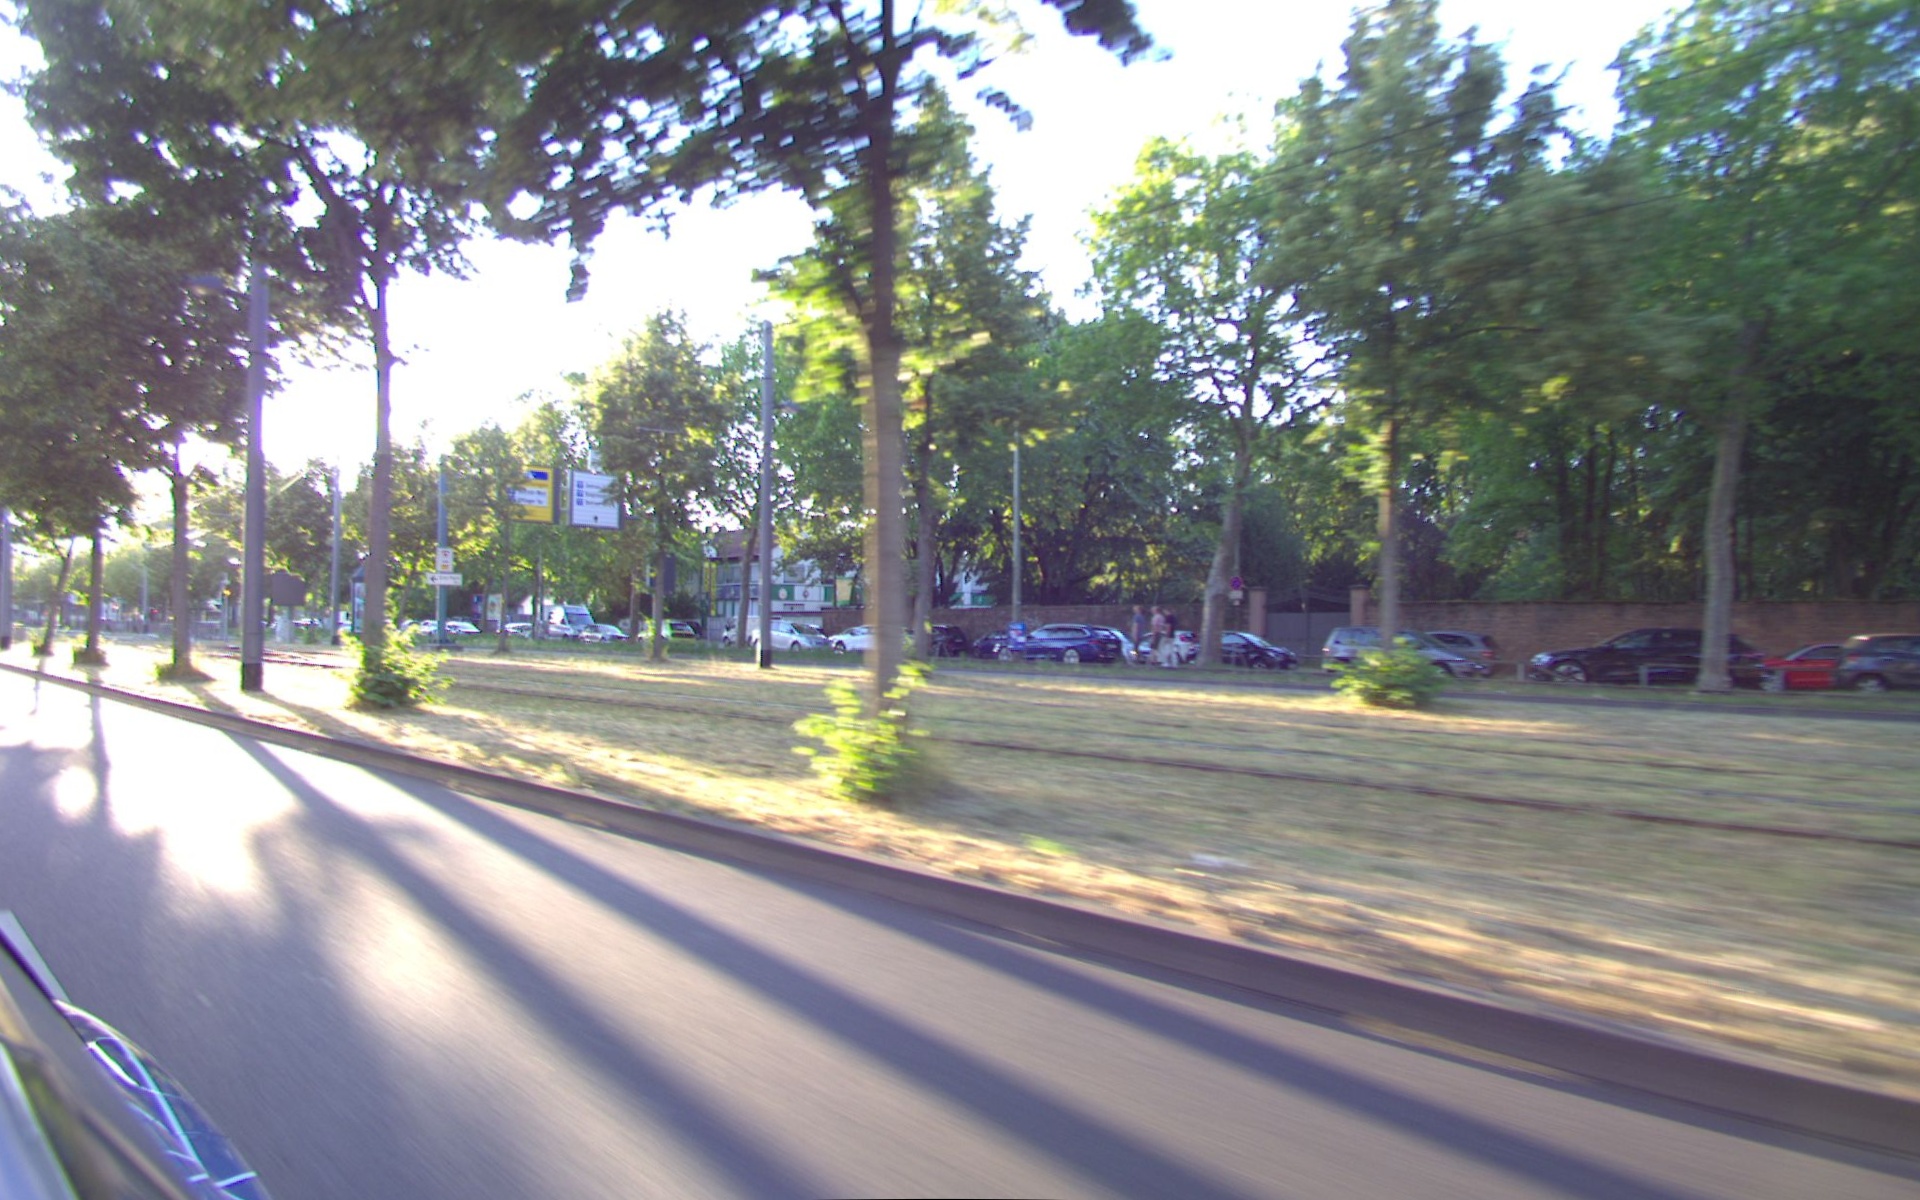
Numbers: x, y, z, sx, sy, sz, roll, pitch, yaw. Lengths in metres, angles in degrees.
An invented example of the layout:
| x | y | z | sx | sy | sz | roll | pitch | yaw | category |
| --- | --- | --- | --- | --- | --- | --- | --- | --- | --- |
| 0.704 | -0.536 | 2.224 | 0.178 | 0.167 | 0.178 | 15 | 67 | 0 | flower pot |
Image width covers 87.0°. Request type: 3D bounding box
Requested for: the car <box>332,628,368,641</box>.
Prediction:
| x | y | z | sx | sy | sz | roll | pitch | yaw | category |
| --- | --- | --- | --- | --- | --- | --- | --- | --- | --- |
| -59.221 | 3.316 | 98.224 | 4.088 | 1.210 | 1.972 | -2 | -2 | 42 | car |

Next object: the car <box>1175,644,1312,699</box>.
| x | y | z | sx | sy | sz | roll | pitch | yaw | category |
| --- | --- | --- | --- | --- | --- | --- | --- | --- | --- |
| 8.981 | 2.233 | 32.283 | 1.782 | 1.572 | 3.841 | 2 | -2 | -44 | car |

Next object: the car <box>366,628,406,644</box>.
| x | y | z | sx | sy | sz | roll | pitch | yaw | category |
| --- | --- | --- | --- | --- | --- | --- | --- | --- | --- |
| -50.880 | 3.177 | 89.711 | 3.999 | 1.459 | 1.972 | -2 | -2 | 42 | car |

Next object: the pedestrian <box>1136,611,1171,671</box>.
| x | y | z | sx | sy | sz | roll | pitch | yaw | category |
| --- | --- | --- | --- | --- | --- | --- | --- | --- | --- |
| 5.849 | 1.234 | 30.600 | 0.864 | 1.772 | 0.687 | -1 | -2 | 33 | pedestrian |

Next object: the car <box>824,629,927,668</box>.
| x | y | z | sx | sy | sz | roll | pitch | yaw | category |
| --- | --- | --- | --- | --- | --- | --- | --- | --- | --- |
| -3.571 | 1.995 | 42.338 | 4.305 | 1.511 | 1.880 | -1 | -2 | 42 | car |

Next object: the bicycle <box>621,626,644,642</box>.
| x | y | z | sx | sy | sz | roll | pitch | yaw | category |
| --- | --- | --- | --- | --- | --- | --- | --- | --- | --- |
| -23.310 | 2.412 | 72.076 | 0.722 | 1.099 | 2.018 | 2 | -3 | -44 | bicycle |

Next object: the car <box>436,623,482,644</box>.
| x | y | z | sx | sy | sz | roll | pitch | yaw | category |
| --- | --- | --- | --- | --- | --- | --- | --- | --- | --- |
| -38.056 | 2.550 | 76.882 | 4.053 | 1.543 | 1.790 | -2 | -2 | 42 | car |

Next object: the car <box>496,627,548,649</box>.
| x | y | z | sx | sy | sz | roll | pitch | yaw | category |
| --- | --- | --- | --- | --- | --- | --- | --- | --- | --- |
| -31.567 | 2.713 | 72.905 | 4.097 | 1.512 | 1.972 | -1 | -2 | 42 | car |

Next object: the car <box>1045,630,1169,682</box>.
| x | y | z | sx | sy | sz | roll | pitch | yaw | category |
| --- | --- | --- | --- | --- | --- | --- | --- | --- | --- |
| 5.306 | 1.982 | 36.890 | 1.970 | 1.763 | 4.163 | 2 | -2 | -44 | car |

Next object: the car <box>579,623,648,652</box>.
| x | y | z | sx | sy | sz | roll | pitch | yaw | category |
| --- | --- | --- | --- | --- | --- | --- | --- | --- | --- |
| -20.510 | 2.208 | 59.867 | 4.205 | 1.649 | 1.974 | -1 | -2 | 39 | car |

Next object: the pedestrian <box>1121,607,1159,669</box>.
| x | y | z | sx | sy | sz | roll | pitch | yaw | category |
| --- | --- | --- | --- | --- | --- | --- | --- | --- | --- |
| 5.268 | 1.104 | 29.610 | 0.865 | 1.756 | 0.686 | -1 | -2 | 39 | pedestrian |

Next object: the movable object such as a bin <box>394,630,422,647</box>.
| x | y | z | sx | sy | sz | roll | pitch | yaw | category |
| --- | --- | --- | --- | --- | --- | --- | --- | --- | --- |
| -45.699 | 3.147 | 83.730 | 1.724 | 1.383 | 1.536 | -2 | -2 | 42 | movable object such as a bin |

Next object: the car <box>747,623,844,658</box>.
| x | y | z | sx | sy | sz | roll | pitch | yaw | category |
| --- | --- | --- | --- | --- | --- | --- | --- | --- | --- |
| -7.530 | 1.833 | 46.065 | 4.555 | 1.510 | 1.972 | -1 | -2 | 42 | car |

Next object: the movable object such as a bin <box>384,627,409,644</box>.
| x | y | z | sx | sy | sz | roll | pitch | yaw | category |
| --- | --- | --- | --- | --- | --- | --- | --- | --- | --- |
| -47.759 | 3.027 | 85.822 | 1.701 | 1.422 | 1.393 | -2 | -2 | 42 | movable object such as a bin |

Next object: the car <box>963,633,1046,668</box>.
| x | y | z | sx | sy | sz | roll | pitch | yaw | category |
| --- | --- | --- | --- | --- | --- | --- | --- | --- | --- |
| 2.131 | 2.421 | 49.184 | 3.840 | 1.608 | 1.745 | -2 | -3 | 45 | car |

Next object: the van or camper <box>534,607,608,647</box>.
| x | y | z | sx | sy | sz | roll | pitch | yaw | category |
| --- | --- | --- | --- | --- | --- | --- | --- | --- | --- |
| -24.685 | 1.711 | 64.107 | 2.258 | 2.383 | 5.786 | 2 | -2 | -44 | van or camper |

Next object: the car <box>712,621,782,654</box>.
| x | y | z | sx | sy | sz | roll | pitch | yaw | category |
| --- | --- | --- | --- | --- | --- | --- | --- | --- | --- |
| -13.774 | 2.405 | 65.289 | 5.060 | 2.029 | 1.971 | -2 | -2 | 44 | car |

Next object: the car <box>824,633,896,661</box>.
| x | y | z | sx | sy | sz | roll | pitch | yaw | category |
| --- | --- | --- | --- | --- | --- | --- | --- | --- | --- |
| -5.660 | 2.619 | 56.896 | 4.051 | 1.503 | 1.839 | -2 | -3 | 44 | car |

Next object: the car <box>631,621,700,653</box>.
| x | y | z | sx | sy | sz | roll | pitch | yaw | category |
| --- | --- | --- | --- | --- | --- | --- | --- | --- | --- |
| -15.852 | 1.998 | 54.367 | 1.969 | 1.652 | 4.005 | 2 | -2 | -42 | car |

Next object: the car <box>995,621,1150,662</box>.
| x | y | z | sx | sy | sz | roll | pitch | yaw | category |
| --- | --- | --- | --- | --- | --- | --- | --- | --- | --- |
| 3.786 | 1.398 | 34.763 | 5.140 | 1.325 | 1.972 | -1 | -2 | 42 | car |

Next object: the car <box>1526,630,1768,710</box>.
| x | y | z | sx | sy | sz | roll | pitch | yaw | category |
| --- | --- | --- | --- | --- | --- | --- | --- | --- | --- |
| 16.909 | 1.642 | 25.060 | 4.787 | 1.763 | 1.973 | -1 | -2 | 40 | car |

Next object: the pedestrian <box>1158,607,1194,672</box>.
| x | y | z | sx | sy | sz | roll | pitch | yaw | category |
| --- | --- | --- | --- | --- | --- | --- | --- | --- | --- |
| 6.332 | 1.152 | 29.685 | 0.864 | 1.884 | 0.687 | -1 | -2 | 33 | pedestrian |

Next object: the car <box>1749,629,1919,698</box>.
| x | y | z | sx | sy | sz | roll | pitch | yaw | category |
| --- | --- | --- | --- | --- | --- | --- | --- | --- | --- |
| 24.264 | 1.692 | 27.807 | 3.997 | 1.763 | 1.973 | -1 | -2 | 40 | car |

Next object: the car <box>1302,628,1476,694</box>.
| x | y | z | sx | sy | sz | roll | pitch | yaw | category |
| --- | --- | --- | --- | --- | --- | --- | --- | --- | --- |
| 12.235 | 1.682 | 29.048 | 1.970 | 1.763 | 4.163 | 2 | -2 | -44 | car |

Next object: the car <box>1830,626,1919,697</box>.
| x | y | z | sx | sy | sz | roll | pitch | yaw | category |
| --- | --- | --- | --- | --- | --- | --- | --- | --- | --- |
| 21.479 | 1.307 | 21.754 | 3.991 | 1.497 | 1.976 | -1 | -2 | 35 | car |

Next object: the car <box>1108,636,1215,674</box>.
| x | y | z | sx | sy | sz | roll | pitch | yaw | category |
| --- | --- | --- | --- | --- | --- | --- | --- | --- | --- |
| 8.400 | 2.266 | 42.444 | 1.969 | 1.497 | 4.005 | 2 | -2 | -42 | car |

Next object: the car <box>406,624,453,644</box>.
| x | y | z | sx | sy | sz | roll | pitch | yaw | category |
| --- | --- | --- | --- | --- | --- | --- | --- | --- | --- |
| -42.382 | 2.728 | 80.863 | 4.298 | 1.512 | 1.972 | -2 | -2 | 42 | car |
